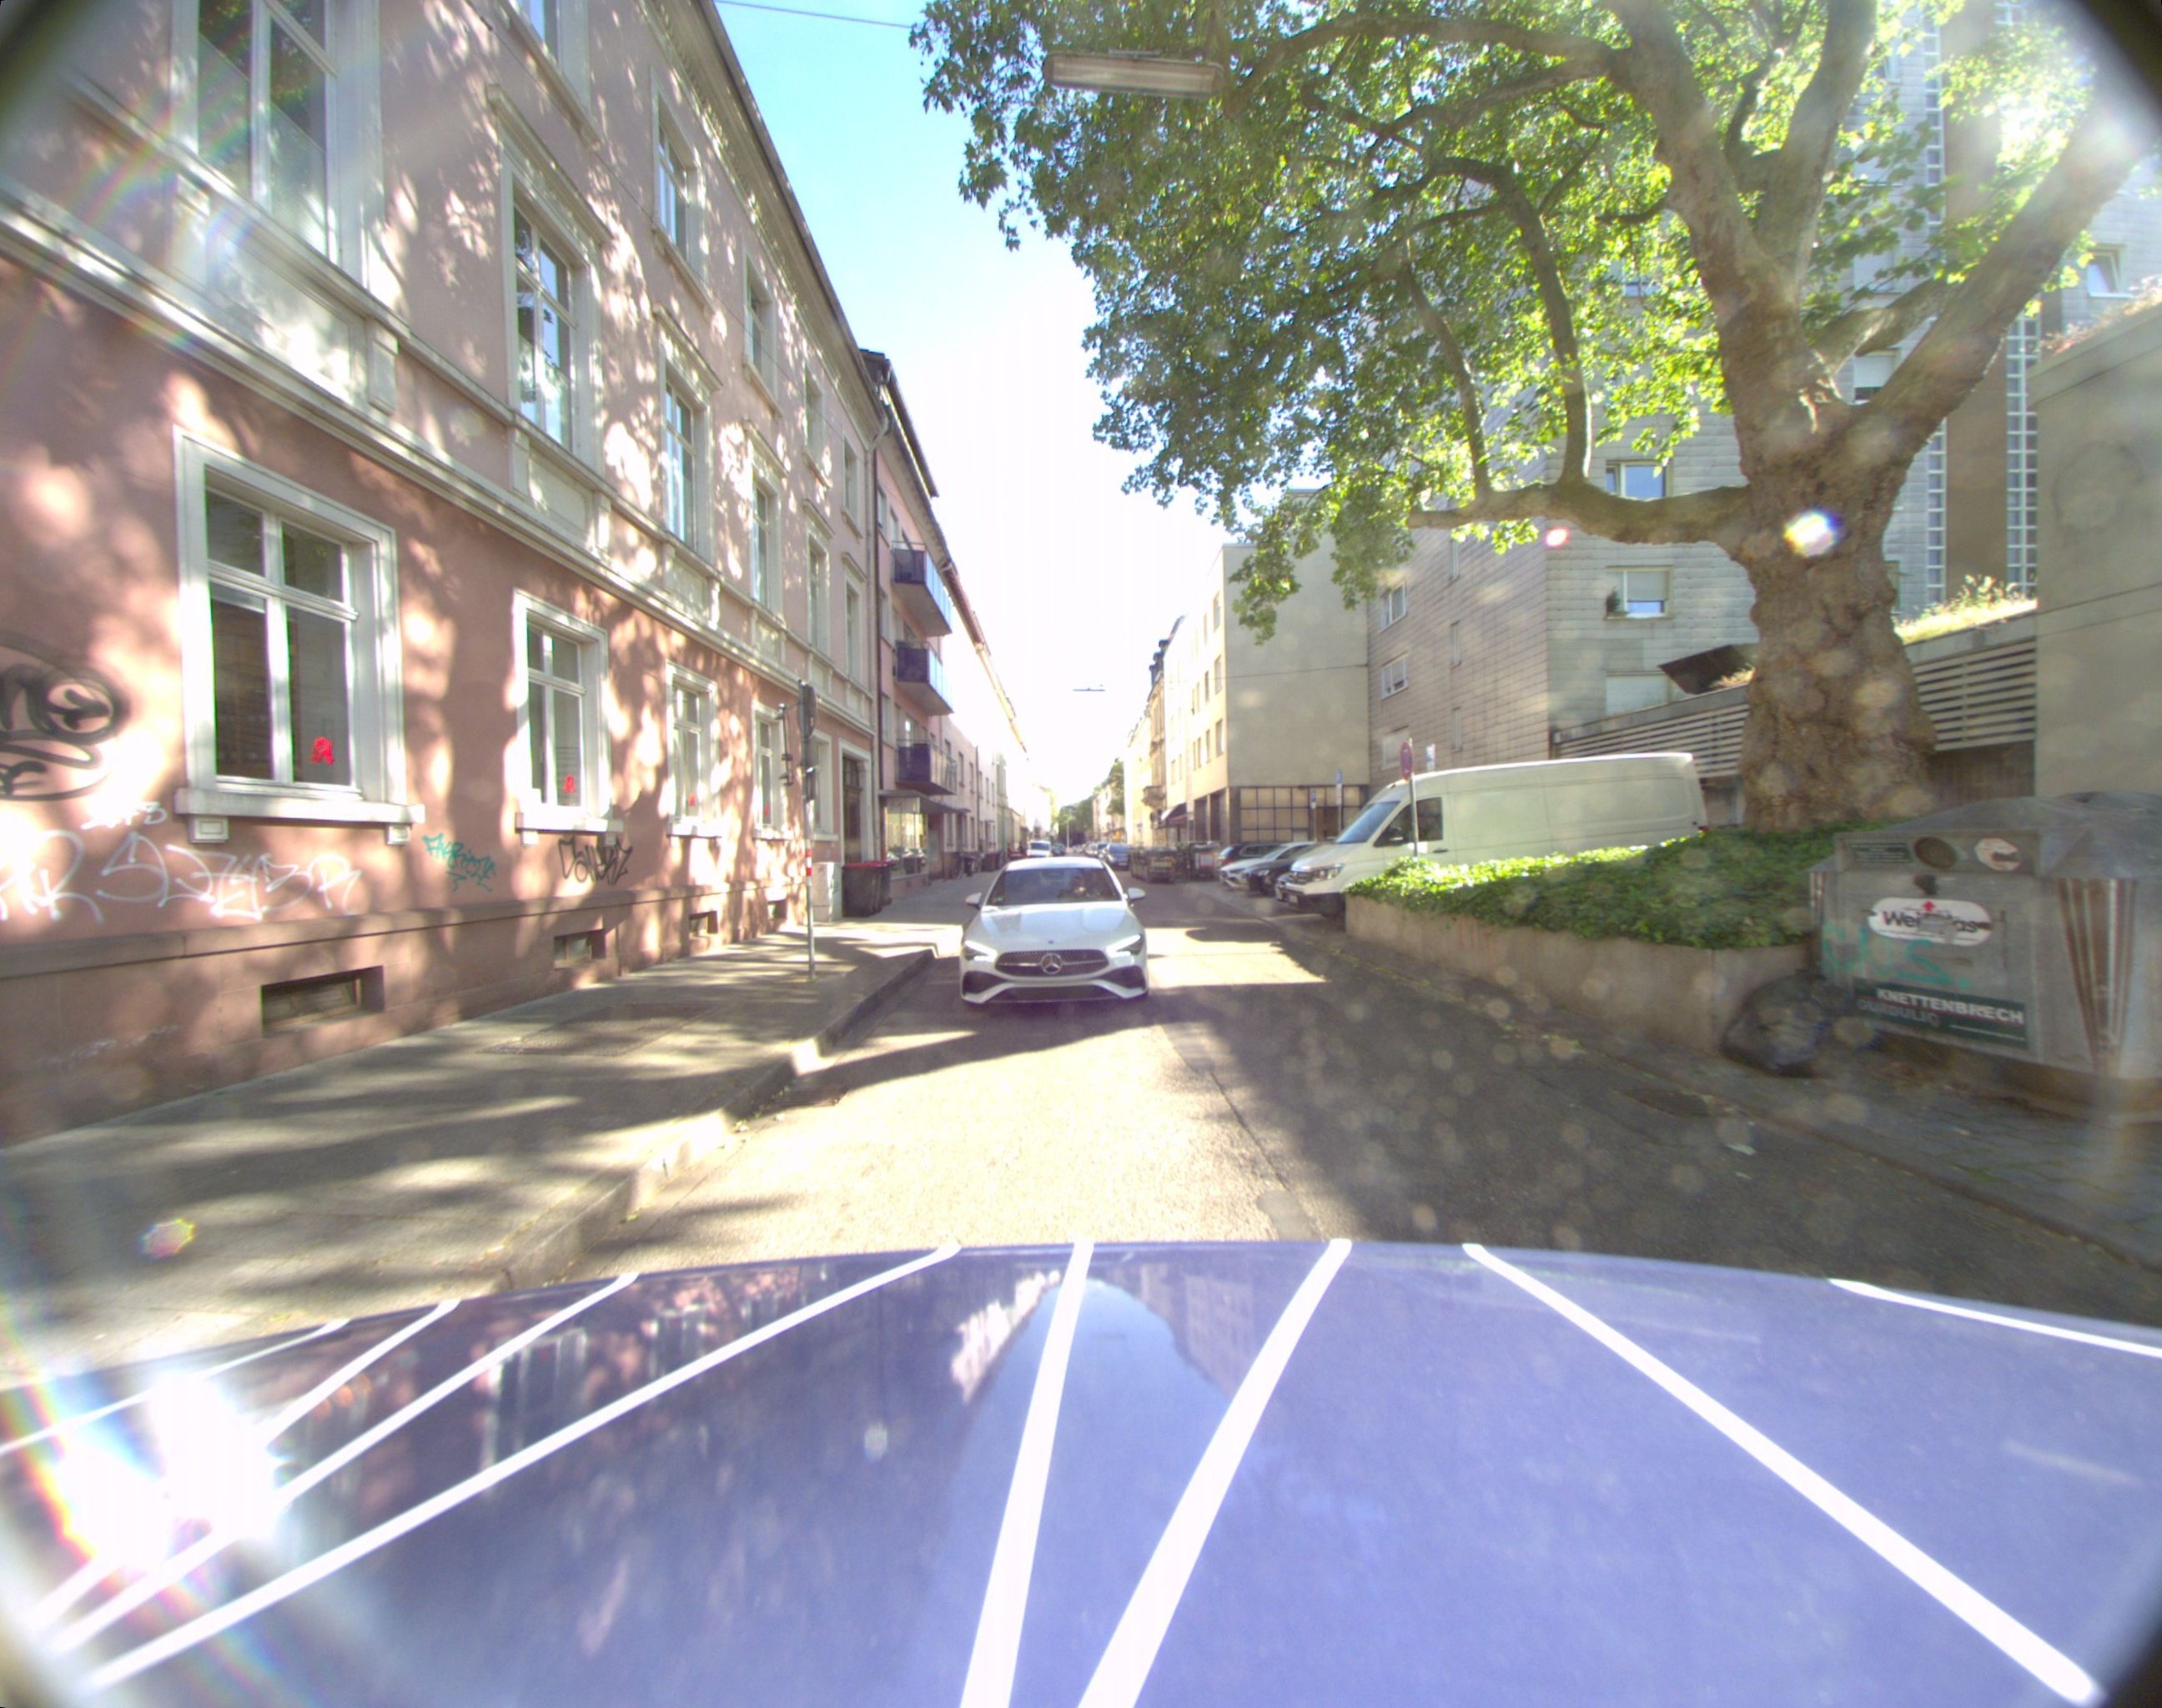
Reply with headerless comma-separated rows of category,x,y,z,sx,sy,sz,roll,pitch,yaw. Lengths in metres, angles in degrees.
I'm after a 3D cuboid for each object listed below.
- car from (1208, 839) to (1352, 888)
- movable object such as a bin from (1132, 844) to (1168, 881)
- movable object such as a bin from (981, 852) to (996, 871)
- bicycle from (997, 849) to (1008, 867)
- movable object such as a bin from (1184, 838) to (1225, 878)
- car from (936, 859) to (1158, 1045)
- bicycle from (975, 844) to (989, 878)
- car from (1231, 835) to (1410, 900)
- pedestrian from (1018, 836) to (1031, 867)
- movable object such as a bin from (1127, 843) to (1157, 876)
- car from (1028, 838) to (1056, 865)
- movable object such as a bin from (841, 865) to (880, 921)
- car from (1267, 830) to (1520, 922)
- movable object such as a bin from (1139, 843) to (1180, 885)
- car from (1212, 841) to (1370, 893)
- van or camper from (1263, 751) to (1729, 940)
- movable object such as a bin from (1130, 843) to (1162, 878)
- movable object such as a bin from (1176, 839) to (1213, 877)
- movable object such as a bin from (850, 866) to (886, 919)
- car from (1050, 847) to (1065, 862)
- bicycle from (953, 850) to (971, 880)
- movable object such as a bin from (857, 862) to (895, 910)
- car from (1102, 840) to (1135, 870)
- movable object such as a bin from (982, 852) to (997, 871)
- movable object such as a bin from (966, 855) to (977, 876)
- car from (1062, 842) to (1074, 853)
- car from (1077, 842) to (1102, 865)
car,6.728,0.301,25.949,4.417,1.524,1.698,-1,1,-6
movable object such as a bin,2.897,0.320,32.200,1.247,1.492,1.924,-1,1,-2
movable object such as a bin,-5.011,0.409,41.209,0.717,0.996,0.546,2,1,-2
bicycle,-5.087,0.262,49.418,0.490,1.090,1.932,-1,1,0
movable object such as a bin,4.758,0.139,29.316,1.328,1.492,1.194,-1,1,-3
car,-0.280,0.859,8.833,1.862,1.449,4.562,-2,1,0
bicycle,-5.106,0.352,39.362,0.402,1.726,2.106,-1,1,0
car,6.592,0.339,21.097,4.417,1.607,1.697,-1,1,-6
pedestrian,-3.659,-0.155,49.520,0.761,2.002,0.771,-1,1,0
movable object such as a bin,2.855,0.249,35.742,1.222,1.492,1.559,-1,1,-2
car,-2.819,-0.187,55.361,1.765,1.843,4.327,-1,1,0
movable object such as a bin,-4.425,0.777,15.270,0.570,1.078,0.654,2,1,-2
car,6.242,0.408,15.492,4.415,1.525,1.698,-3,1,-1
movable object such as a bin,3.066,0.357,29.832,1.241,1.492,1.876,-5,1,-2
car,6.475,0.387,23.623,4.417,1.454,1.598,-1,1,-6
van or camper,6.980,-0.141,13.332,6.922,2.559,2.000,-4,1,0
movable object such as a bin,2.904,0.265,34.154,1.222,1.492,1.559,-1,1,-2
movable object such as a bin,4.569,0.149,30.729,1.222,1.492,1.517,-1,1,-2
movable object such as a bin,-4.445,0.787,15.899,0.570,1.052,0.611,2,1,-2
car,-2.918,0.024,93.812,1.765,1.698,4.326,-1,1,-1
bicycle,-4.920,0.437,31.605,0.402,1.144,2.024,-1,1,0
movable object such as a bin,-4.777,0.737,17.753,0.718,1.078,0.618,2,1,-2
car,2.245,0.010,45.978,1.765,1.698,4.327,-1,1,0
movable object such as a bin,-5.024,0.417,41.827,0.717,0.996,0.546,2,1,-2
movable object such as a bin,-4.923,0.527,34.217,0.416,0.935,0.302,2,1,-2
car,-2.033,-1.019,118.954,1.765,1.698,4.326,-1,1,-1
car,0.605,-0.062,57.264,1.765,1.698,4.327,-1,1,0
